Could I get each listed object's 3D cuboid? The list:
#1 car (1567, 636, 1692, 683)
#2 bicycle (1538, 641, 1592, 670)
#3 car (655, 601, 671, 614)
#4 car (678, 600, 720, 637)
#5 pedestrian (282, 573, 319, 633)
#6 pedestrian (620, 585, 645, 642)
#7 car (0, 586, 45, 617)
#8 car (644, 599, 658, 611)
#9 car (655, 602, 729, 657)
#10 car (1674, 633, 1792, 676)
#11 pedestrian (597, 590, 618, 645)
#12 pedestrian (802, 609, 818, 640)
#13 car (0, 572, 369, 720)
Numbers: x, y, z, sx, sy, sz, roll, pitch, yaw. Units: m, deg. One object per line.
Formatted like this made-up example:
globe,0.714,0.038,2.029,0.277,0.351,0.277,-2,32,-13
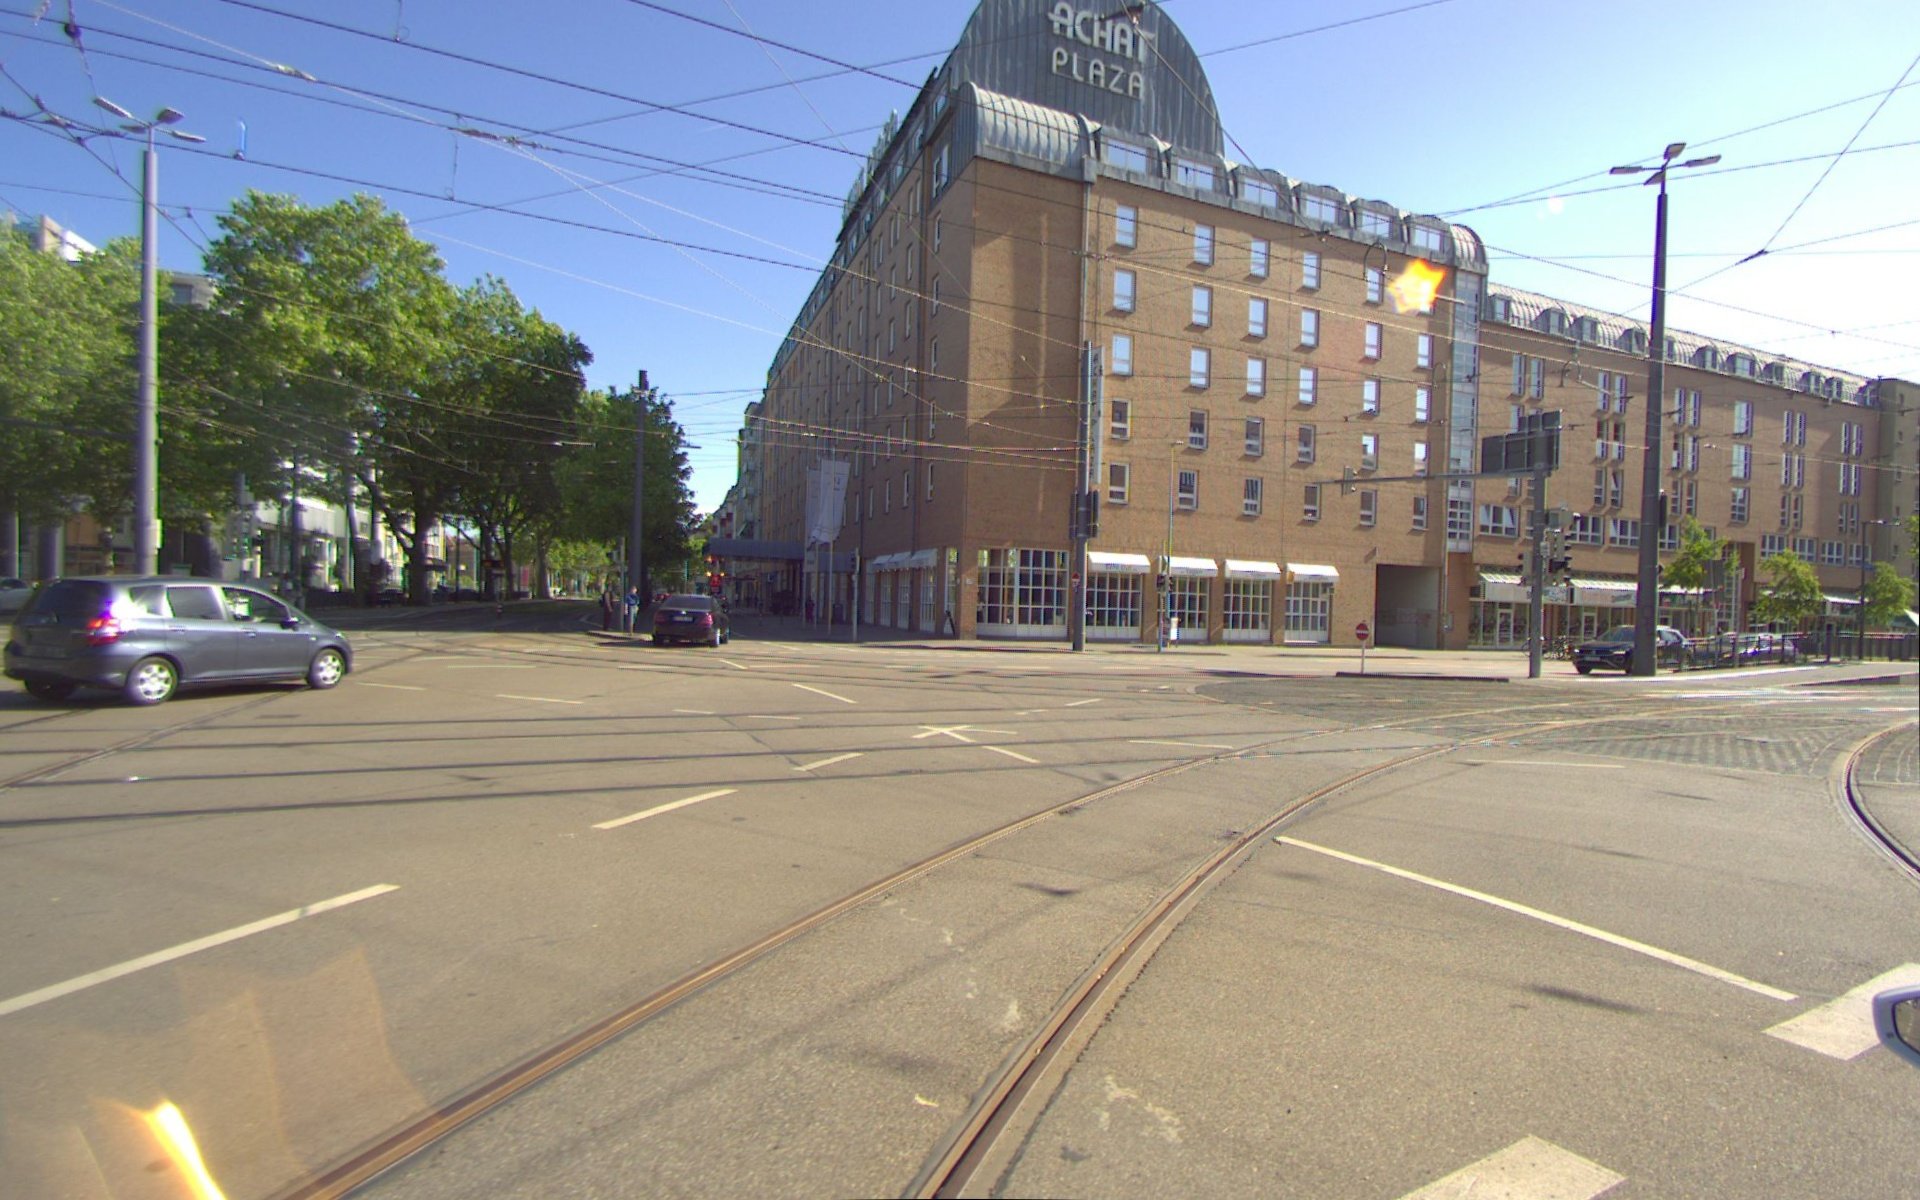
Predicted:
car,21.308,1.878,31.965,3.869,1.416,1.604,1,-3,-27
bicycle,30.946,2.826,51.415,0.721,1.327,2.484,2,0,-16
car,-45.906,1.121,155.235,1.970,1.884,3.981,2,0,-20
car,-11.257,0.775,43.385,1.631,1.468,3.574,2,0,-15
pedestrian,-21.940,0.097,33.440,0.894,1.958,0.698,2,0,-27
pedestrian,-11.505,0.483,35.302,0.742,1.958,0.521,2,0,-27
car,-37.601,0.051,38.711,1.752,1.158,3.987,2,0,-15
car,-50.601,0.879,164.504,1.970,1.884,3.981,2,0,-20
car,-7.914,0.812,29.982,1.701,1.468,4.513,2,0,-10
car,26.886,1.878,34.928,4.172,1.416,1.604,1,-3,-27
pedestrian,-12.763,0.640,36.364,0.518,1.958,0.524,2,0,0
pedestrian,-9.468,1.546,63.203,0.821,1.958,0.557,2,0,-24
car,-9.811,0.512,12.916,1.697,1.585,3.679,2,0,14
